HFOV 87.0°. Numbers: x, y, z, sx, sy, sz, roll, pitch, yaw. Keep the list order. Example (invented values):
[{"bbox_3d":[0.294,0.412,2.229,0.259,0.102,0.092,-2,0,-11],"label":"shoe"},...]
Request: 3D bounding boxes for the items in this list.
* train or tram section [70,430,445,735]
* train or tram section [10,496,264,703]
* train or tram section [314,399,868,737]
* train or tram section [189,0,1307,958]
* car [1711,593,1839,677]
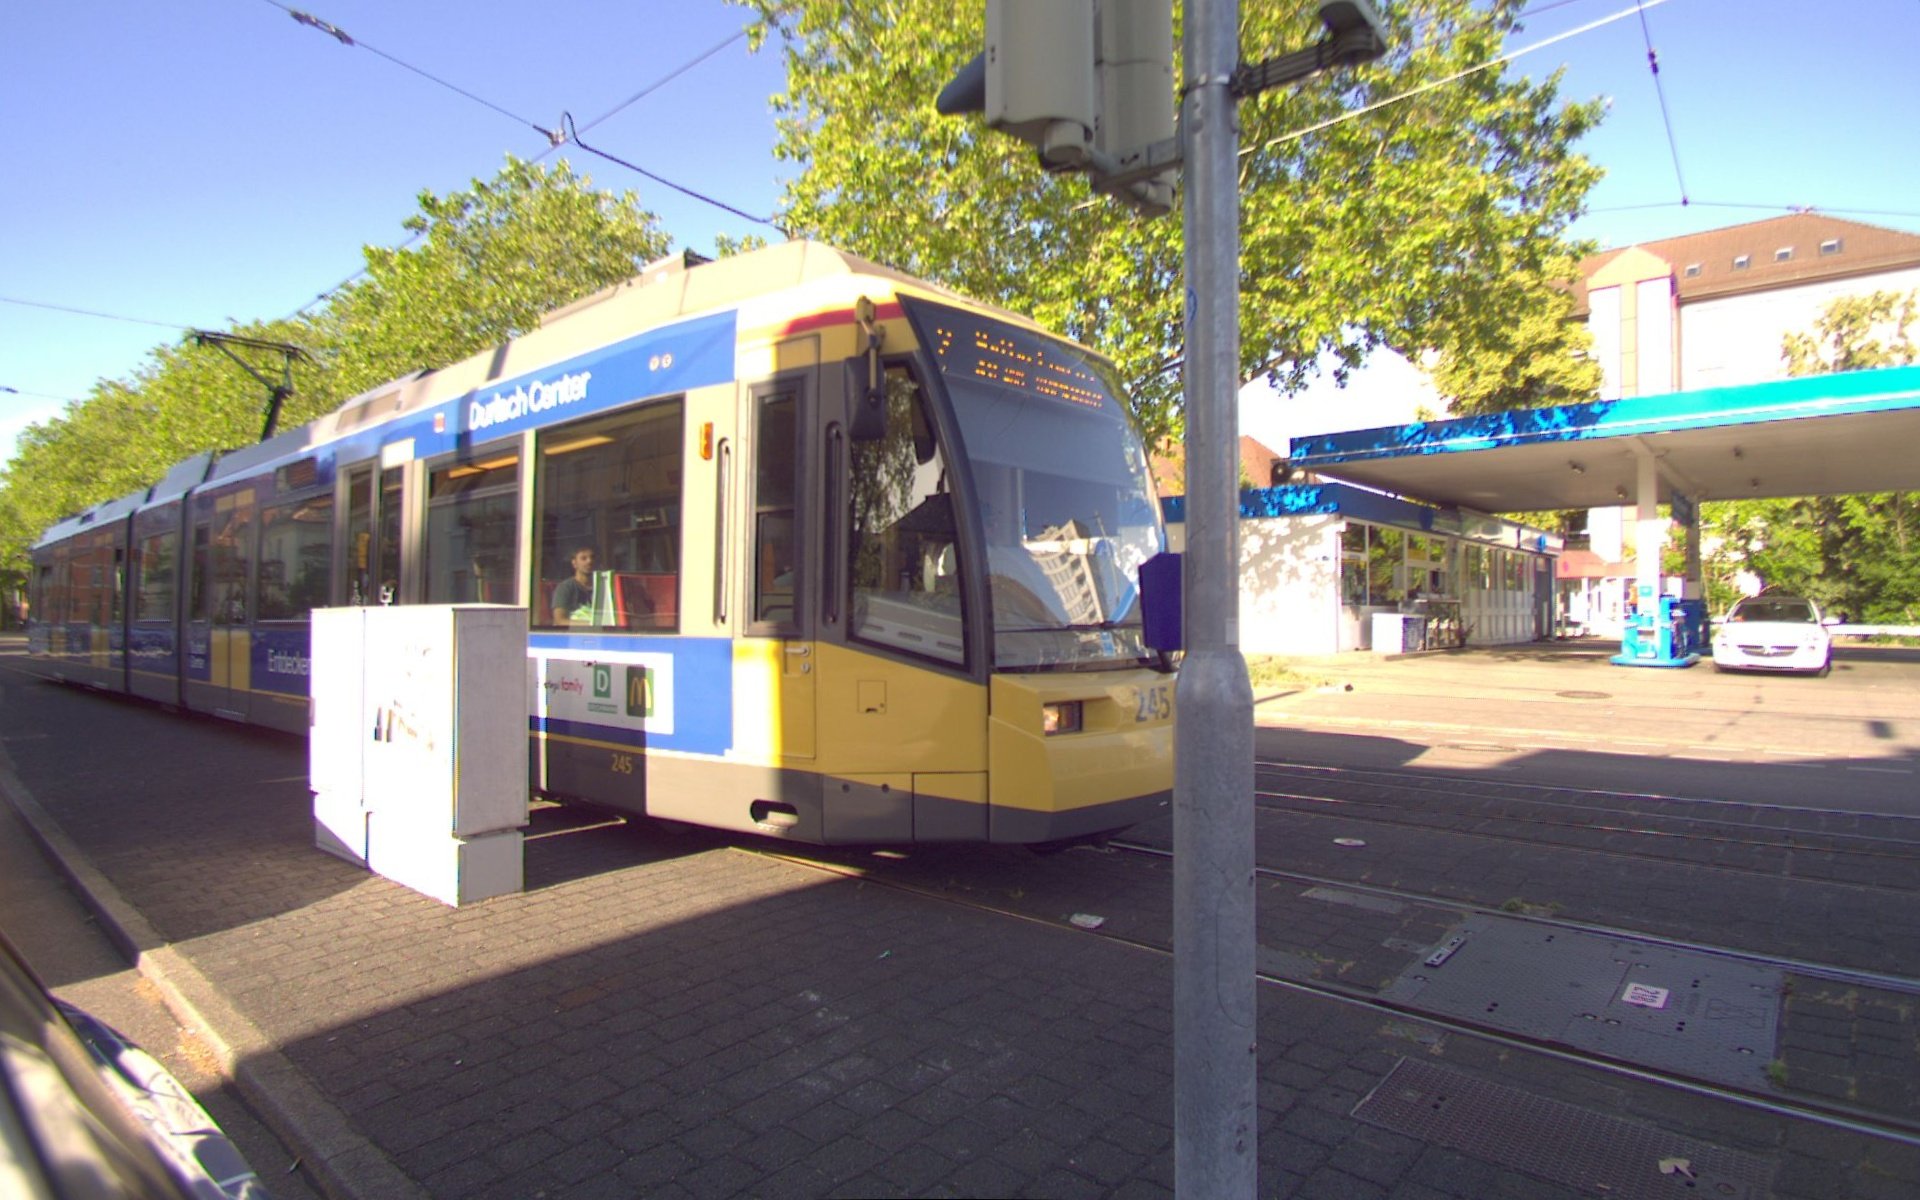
[{"bbox_3d":[-11.089,-0.111,15.526,8.458,3.526,2.785,-2,-2,41],"label":"train or tram section"},{"bbox_3d":[-17.222,0.086,20.936,7.958,3.526,2.785,-2,-2,41],"label":"train or tram section"},{"bbox_3d":[-5.983,-0.292,14.802,10.172,3.503,2.827,-1,0,39],"label":"train or tram section"},{"bbox_3d":[-3.449,-0.335,8.715,12.024,3.526,2.741,-2,-2,41],"label":"train or tram section"},{"bbox_3d":[16.017,0.645,19.851,1.780,1.475,3.946,-1,-1,40],"label":"car"}]
